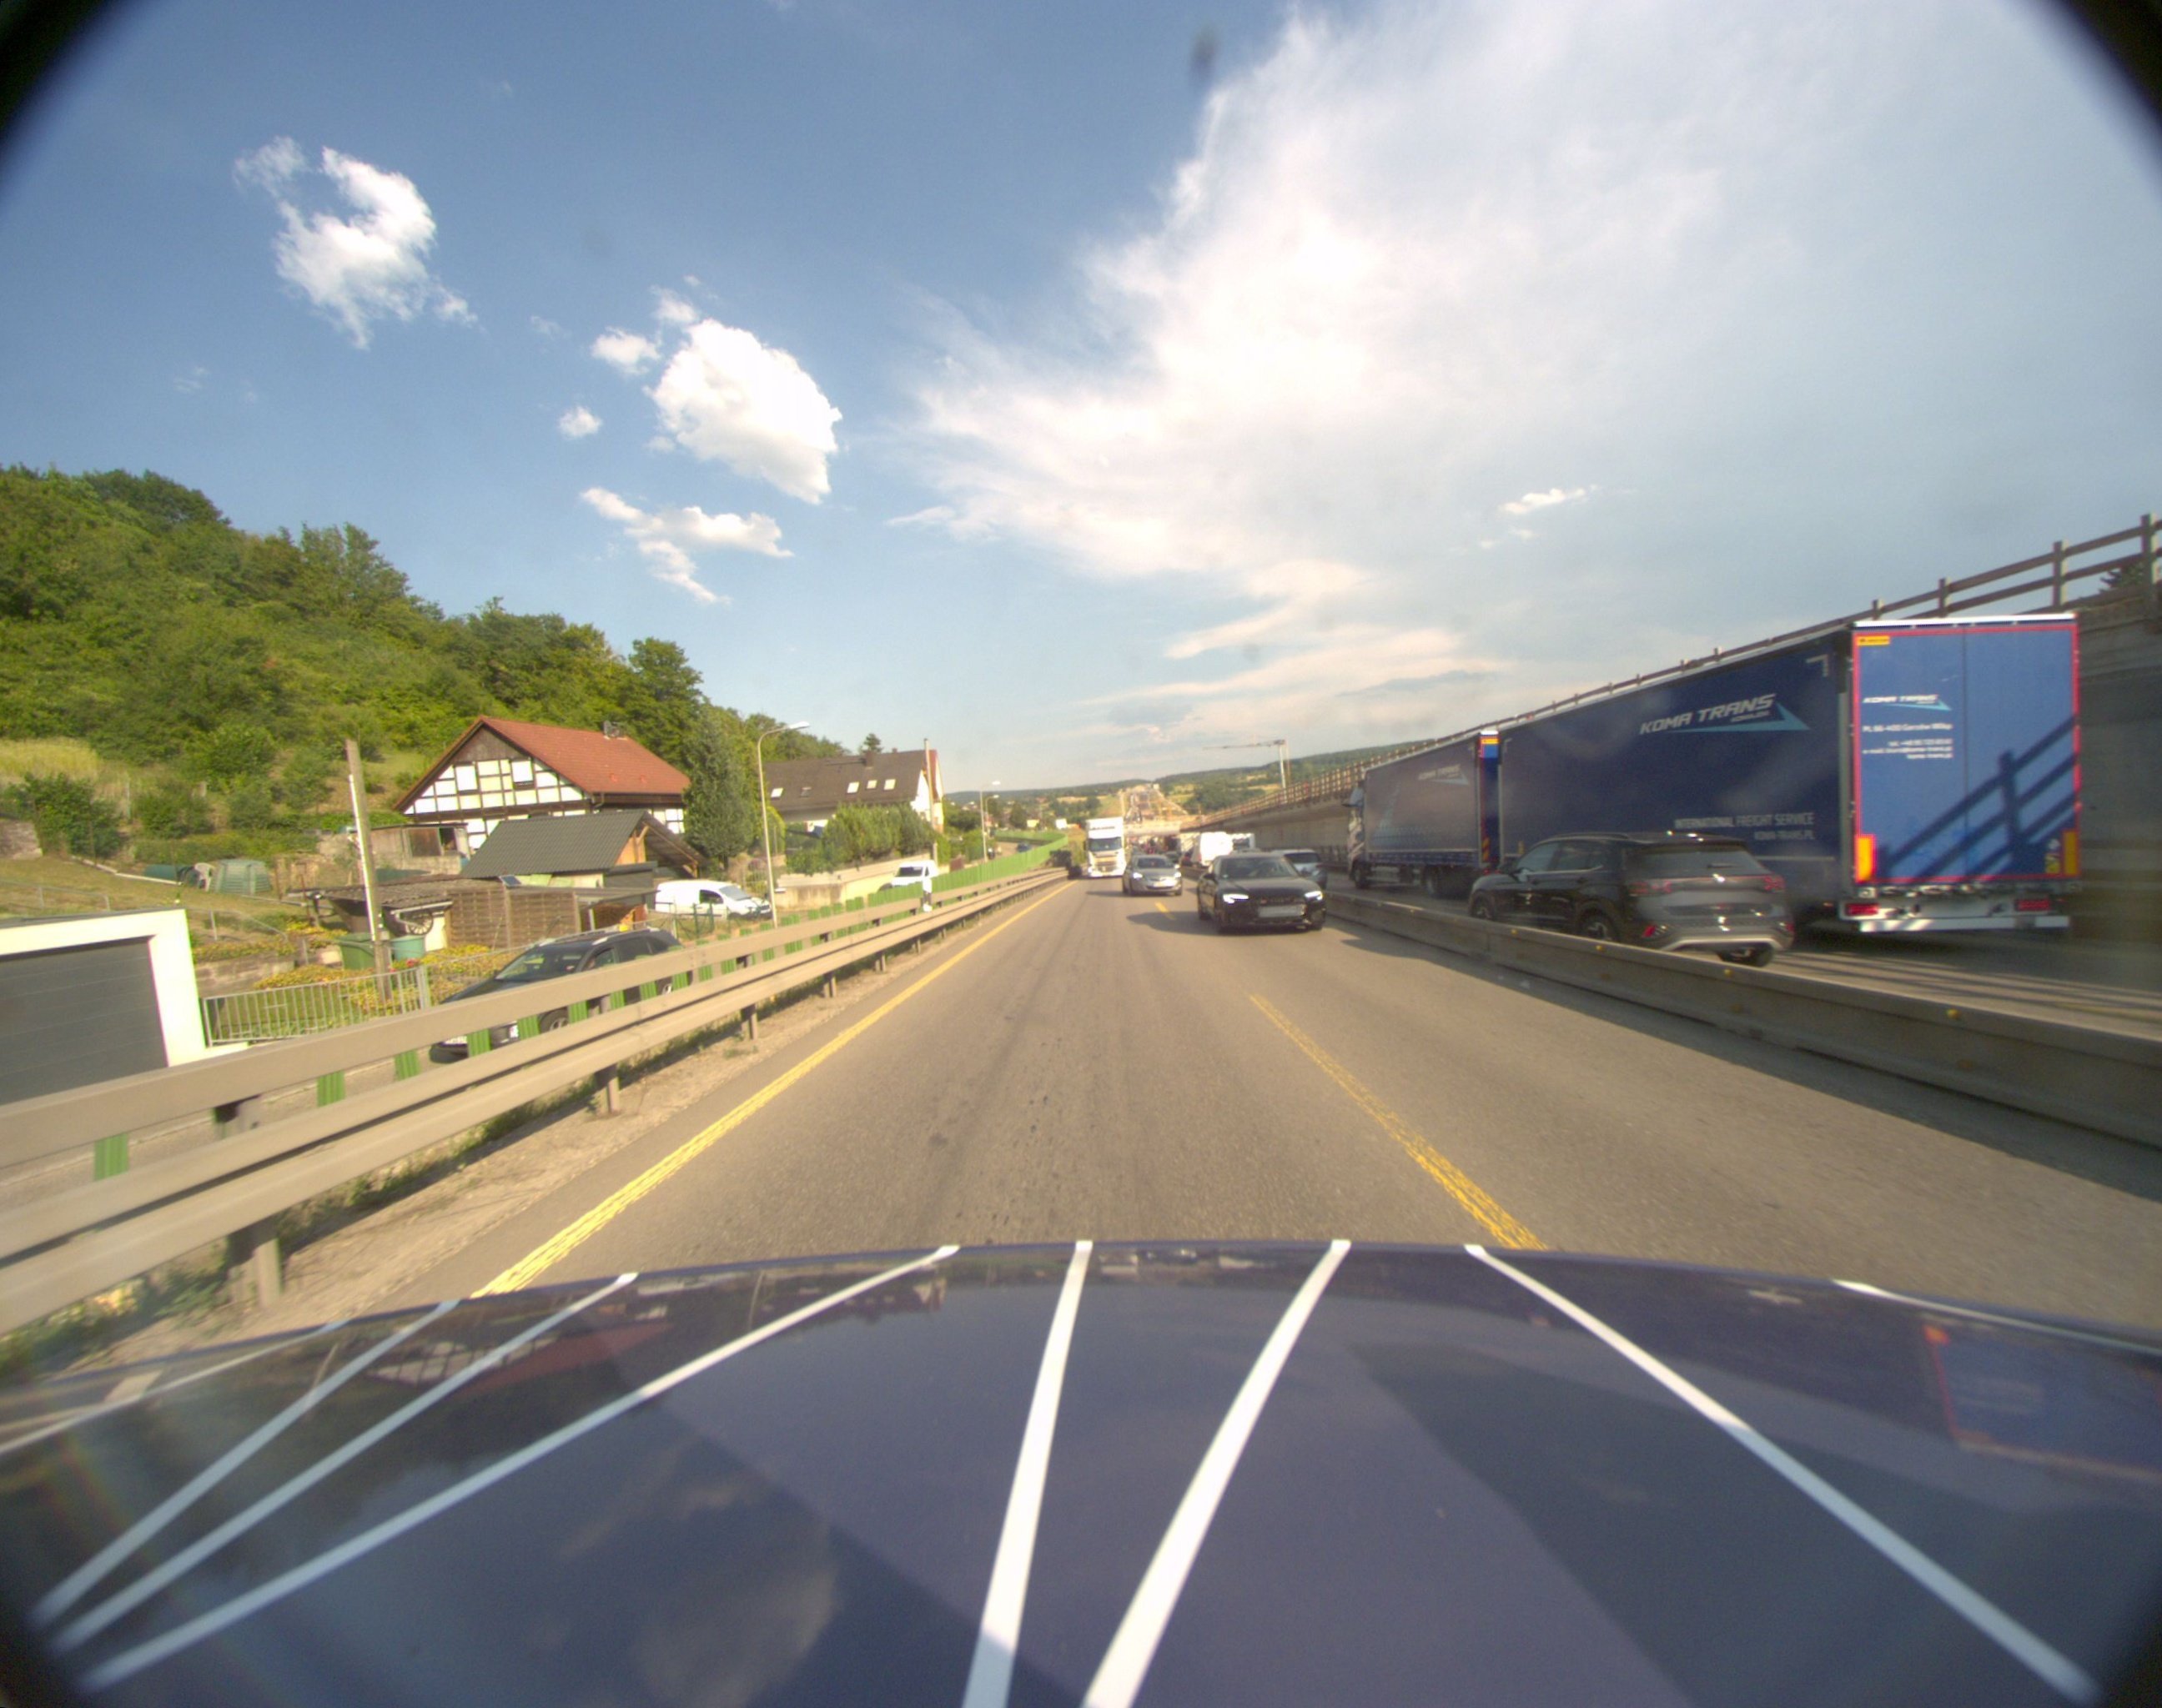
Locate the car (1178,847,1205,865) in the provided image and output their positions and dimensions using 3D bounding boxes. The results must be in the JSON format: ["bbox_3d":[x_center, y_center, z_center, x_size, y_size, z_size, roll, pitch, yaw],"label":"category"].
[{"bbox_3d":[9.131,0.169,62.921,1.712,1.312,3.664,-6,0,3],"label":"car"}]

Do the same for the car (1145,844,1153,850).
[{"bbox_3d":[16.100,-1.650,180.350,1.712,1.312,3.664,-6,0,3],"label":"car"}]

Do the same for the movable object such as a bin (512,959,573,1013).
[{"bbox_3d":[-11.628,2.846,16.426,0.724,0.995,0.677,-5,1,2],"label":"movable object such as a bin"}]

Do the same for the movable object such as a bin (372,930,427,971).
[{"bbox_3d":[-16.693,2.360,18.637,0.688,0.896,0.680,-2,1,0],"label":"movable object such as a bin"}]

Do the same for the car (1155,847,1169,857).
[{"bbox_3d":[11.972,-0.321,112.839,1.712,1.312,3.664,-6,0,3],"label":"car"}]

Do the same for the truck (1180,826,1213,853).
[{"bbox_3d":[14.455,-1.836,95.793,3.242,3.127,6.489,-2,1,1],"label":"truck"}]

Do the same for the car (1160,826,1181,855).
[{"bbox_3d":[17.874,-2.622,152.651,3.327,5.356,14.300,-2,1,4],"label":"car"}]

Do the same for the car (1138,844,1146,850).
[{"bbox_3d":[16.627,-1.872,207.172,1.712,1.312,3.664,-6,0,3],"label":"car"}]

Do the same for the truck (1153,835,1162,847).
[{"bbox_3d":[20.501,-3.483,203.507,1.998,3.154,5.763,-2,1,2],"label":"truck"}]

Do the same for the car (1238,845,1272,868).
[{"bbox_3d":[12.152,0.116,53.290,1.712,1.379,4.001,-6,0,5],"label":"car"}]

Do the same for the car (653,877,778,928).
[{"bbox_3d":[-14.201,1.877,29.691,3.996,1.829,1.750,0,3,3],"label":"car"}]

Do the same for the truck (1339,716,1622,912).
[{"bbox_3d":[10.643,-0.933,22.106,2.822,4.234,10.580,-2,1,2],"label":"truck"}]

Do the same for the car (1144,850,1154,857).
[{"bbox_3d":[13.273,-0.088,148.207,1.712,1.312,3.664,-6,0,3],"label":"car"}]

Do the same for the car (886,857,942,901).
[{"bbox_3d":[-8.755,1.273,40.180,1.824,1.931,4.283,-4,2,1],"label":"car"}]

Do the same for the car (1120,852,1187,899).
[{"bbox_3d":[2.523,0.711,27.433,1.810,1.478,4.117,-2,0,-3],"label":"car"}]

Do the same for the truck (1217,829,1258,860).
[{"bbox_3d":[13.101,-0.806,63.867,2.280,2.287,6.064,-6,0,3],"label":"truck"}]

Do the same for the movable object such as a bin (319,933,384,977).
[{"bbox_3d":[-16.665,2.301,17.371,0.791,0.896,0.680,-2,1,0],"label":"movable object such as a bin"}]

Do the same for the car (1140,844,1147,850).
[{"bbox_3d":[15.657,-1.730,190.552,1.712,1.312,3.664,-6,0,3],"label":"car"}]

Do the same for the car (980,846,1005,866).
[{"bbox_3d":[-9.315,0.164,80.131,1.998,2.002,4.000,-2,1,2],"label":"car"}]

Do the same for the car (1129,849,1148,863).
[{"bbox_3d":[6.764,0.214,90.097,1.998,1.565,4.000,-2,1,1],"label":"car"}]

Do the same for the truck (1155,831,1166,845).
[{"bbox_3d":[18.438,-3.710,176.457,1.998,3.154,5.763,-2,1,2],"label":"truck"}]

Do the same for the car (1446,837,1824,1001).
[{"bbox_3d":[6.523,0.618,9.694,1.703,1.567,4.369,-2,1,2],"label":"car"}]

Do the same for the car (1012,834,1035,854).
[{"bbox_3d":[-5.940,-1.037,78.889,1.999,2.002,3.999,-2,1,-1],"label":"car"}]

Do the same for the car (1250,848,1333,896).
[{"bbox_3d":[7.325,0.569,26.921,1.746,1.432,4.592,-4,0,2],"label":"car"}]

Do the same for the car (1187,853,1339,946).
[{"bbox_3d":[3.401,0.763,15.263,1.945,1.471,5.222,-2,0,2],"label":"car"}]

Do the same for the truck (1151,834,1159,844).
[{"bbox_3d":[24.442,-4.904,250.476,1.998,3.154,5.763,-2,1,2],"label":"truck"}]

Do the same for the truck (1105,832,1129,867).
[{"bbox_3d":[5.009,-0.577,107.260,2.788,4.504,7.190,-4,-1,0],"label":"truck"}]

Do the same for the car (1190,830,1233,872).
[{"bbox_3d":[8.667,-0.223,50.919,2.001,2.601,5.614,-2,0,2],"label":"car"}]

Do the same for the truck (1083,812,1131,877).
[{"bbox_3d":[1.971,-0.686,55.378,2.892,4.059,13.894,-2,1,3],"label":"truck"}]

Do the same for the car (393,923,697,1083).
[{"bbox_3d":[-9.207,2.462,13.667,1.866,1.775,4.498,-2,3,6],"label":"car"}]

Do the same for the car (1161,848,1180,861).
[{"bbox_3d":[10.278,0.029,87.455,1.712,1.312,3.664,-6,0,3],"label":"car"}]

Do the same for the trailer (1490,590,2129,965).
[{"bbox_3d":[10.391,-0.890,12.651,2.822,4.081,8.286,-2,1,2],"label":"trailer"}]
